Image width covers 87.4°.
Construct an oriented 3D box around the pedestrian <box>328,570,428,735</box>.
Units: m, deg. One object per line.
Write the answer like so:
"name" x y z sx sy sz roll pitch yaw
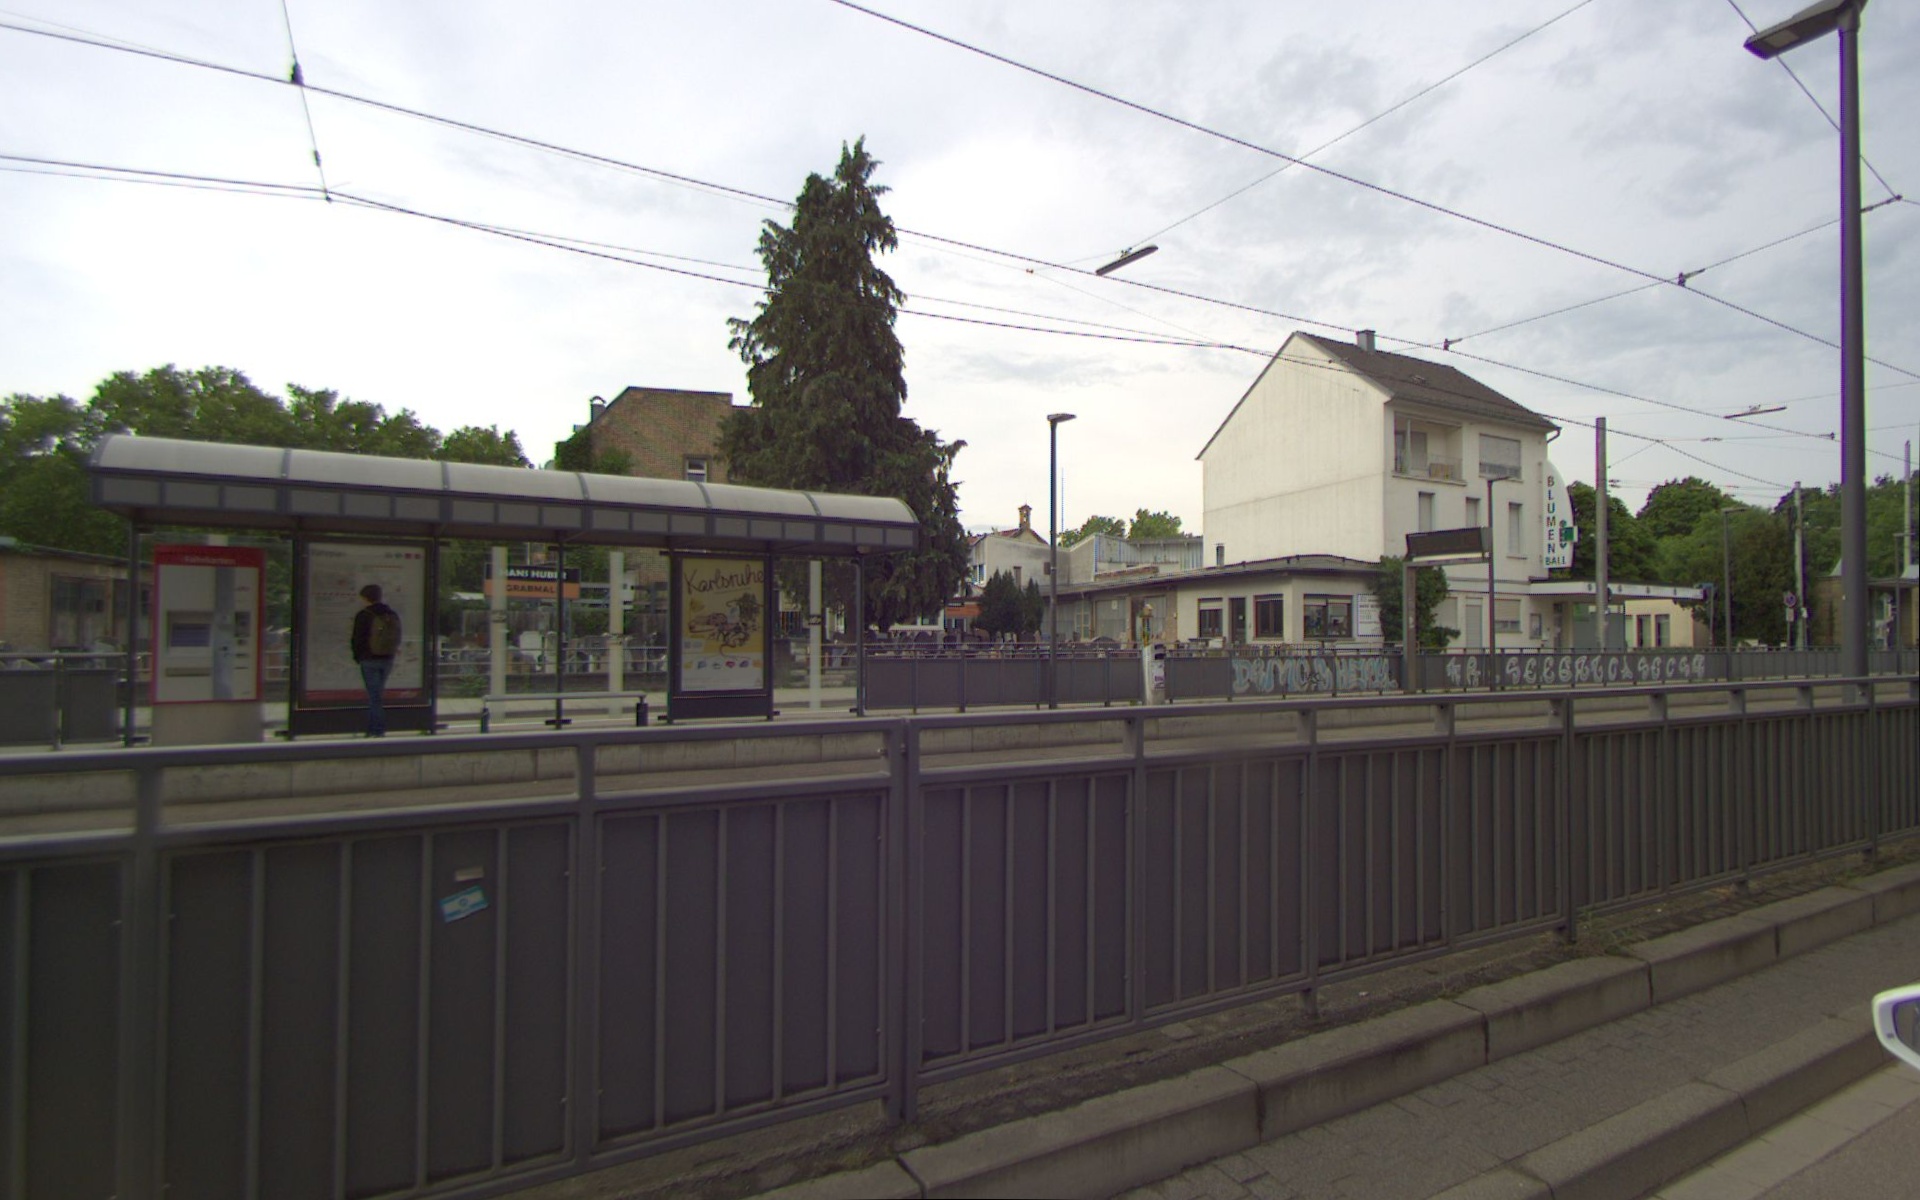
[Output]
"pedestrian" -6.170 0.539 10.660 0.684 1.686 0.616 1 -1 27
